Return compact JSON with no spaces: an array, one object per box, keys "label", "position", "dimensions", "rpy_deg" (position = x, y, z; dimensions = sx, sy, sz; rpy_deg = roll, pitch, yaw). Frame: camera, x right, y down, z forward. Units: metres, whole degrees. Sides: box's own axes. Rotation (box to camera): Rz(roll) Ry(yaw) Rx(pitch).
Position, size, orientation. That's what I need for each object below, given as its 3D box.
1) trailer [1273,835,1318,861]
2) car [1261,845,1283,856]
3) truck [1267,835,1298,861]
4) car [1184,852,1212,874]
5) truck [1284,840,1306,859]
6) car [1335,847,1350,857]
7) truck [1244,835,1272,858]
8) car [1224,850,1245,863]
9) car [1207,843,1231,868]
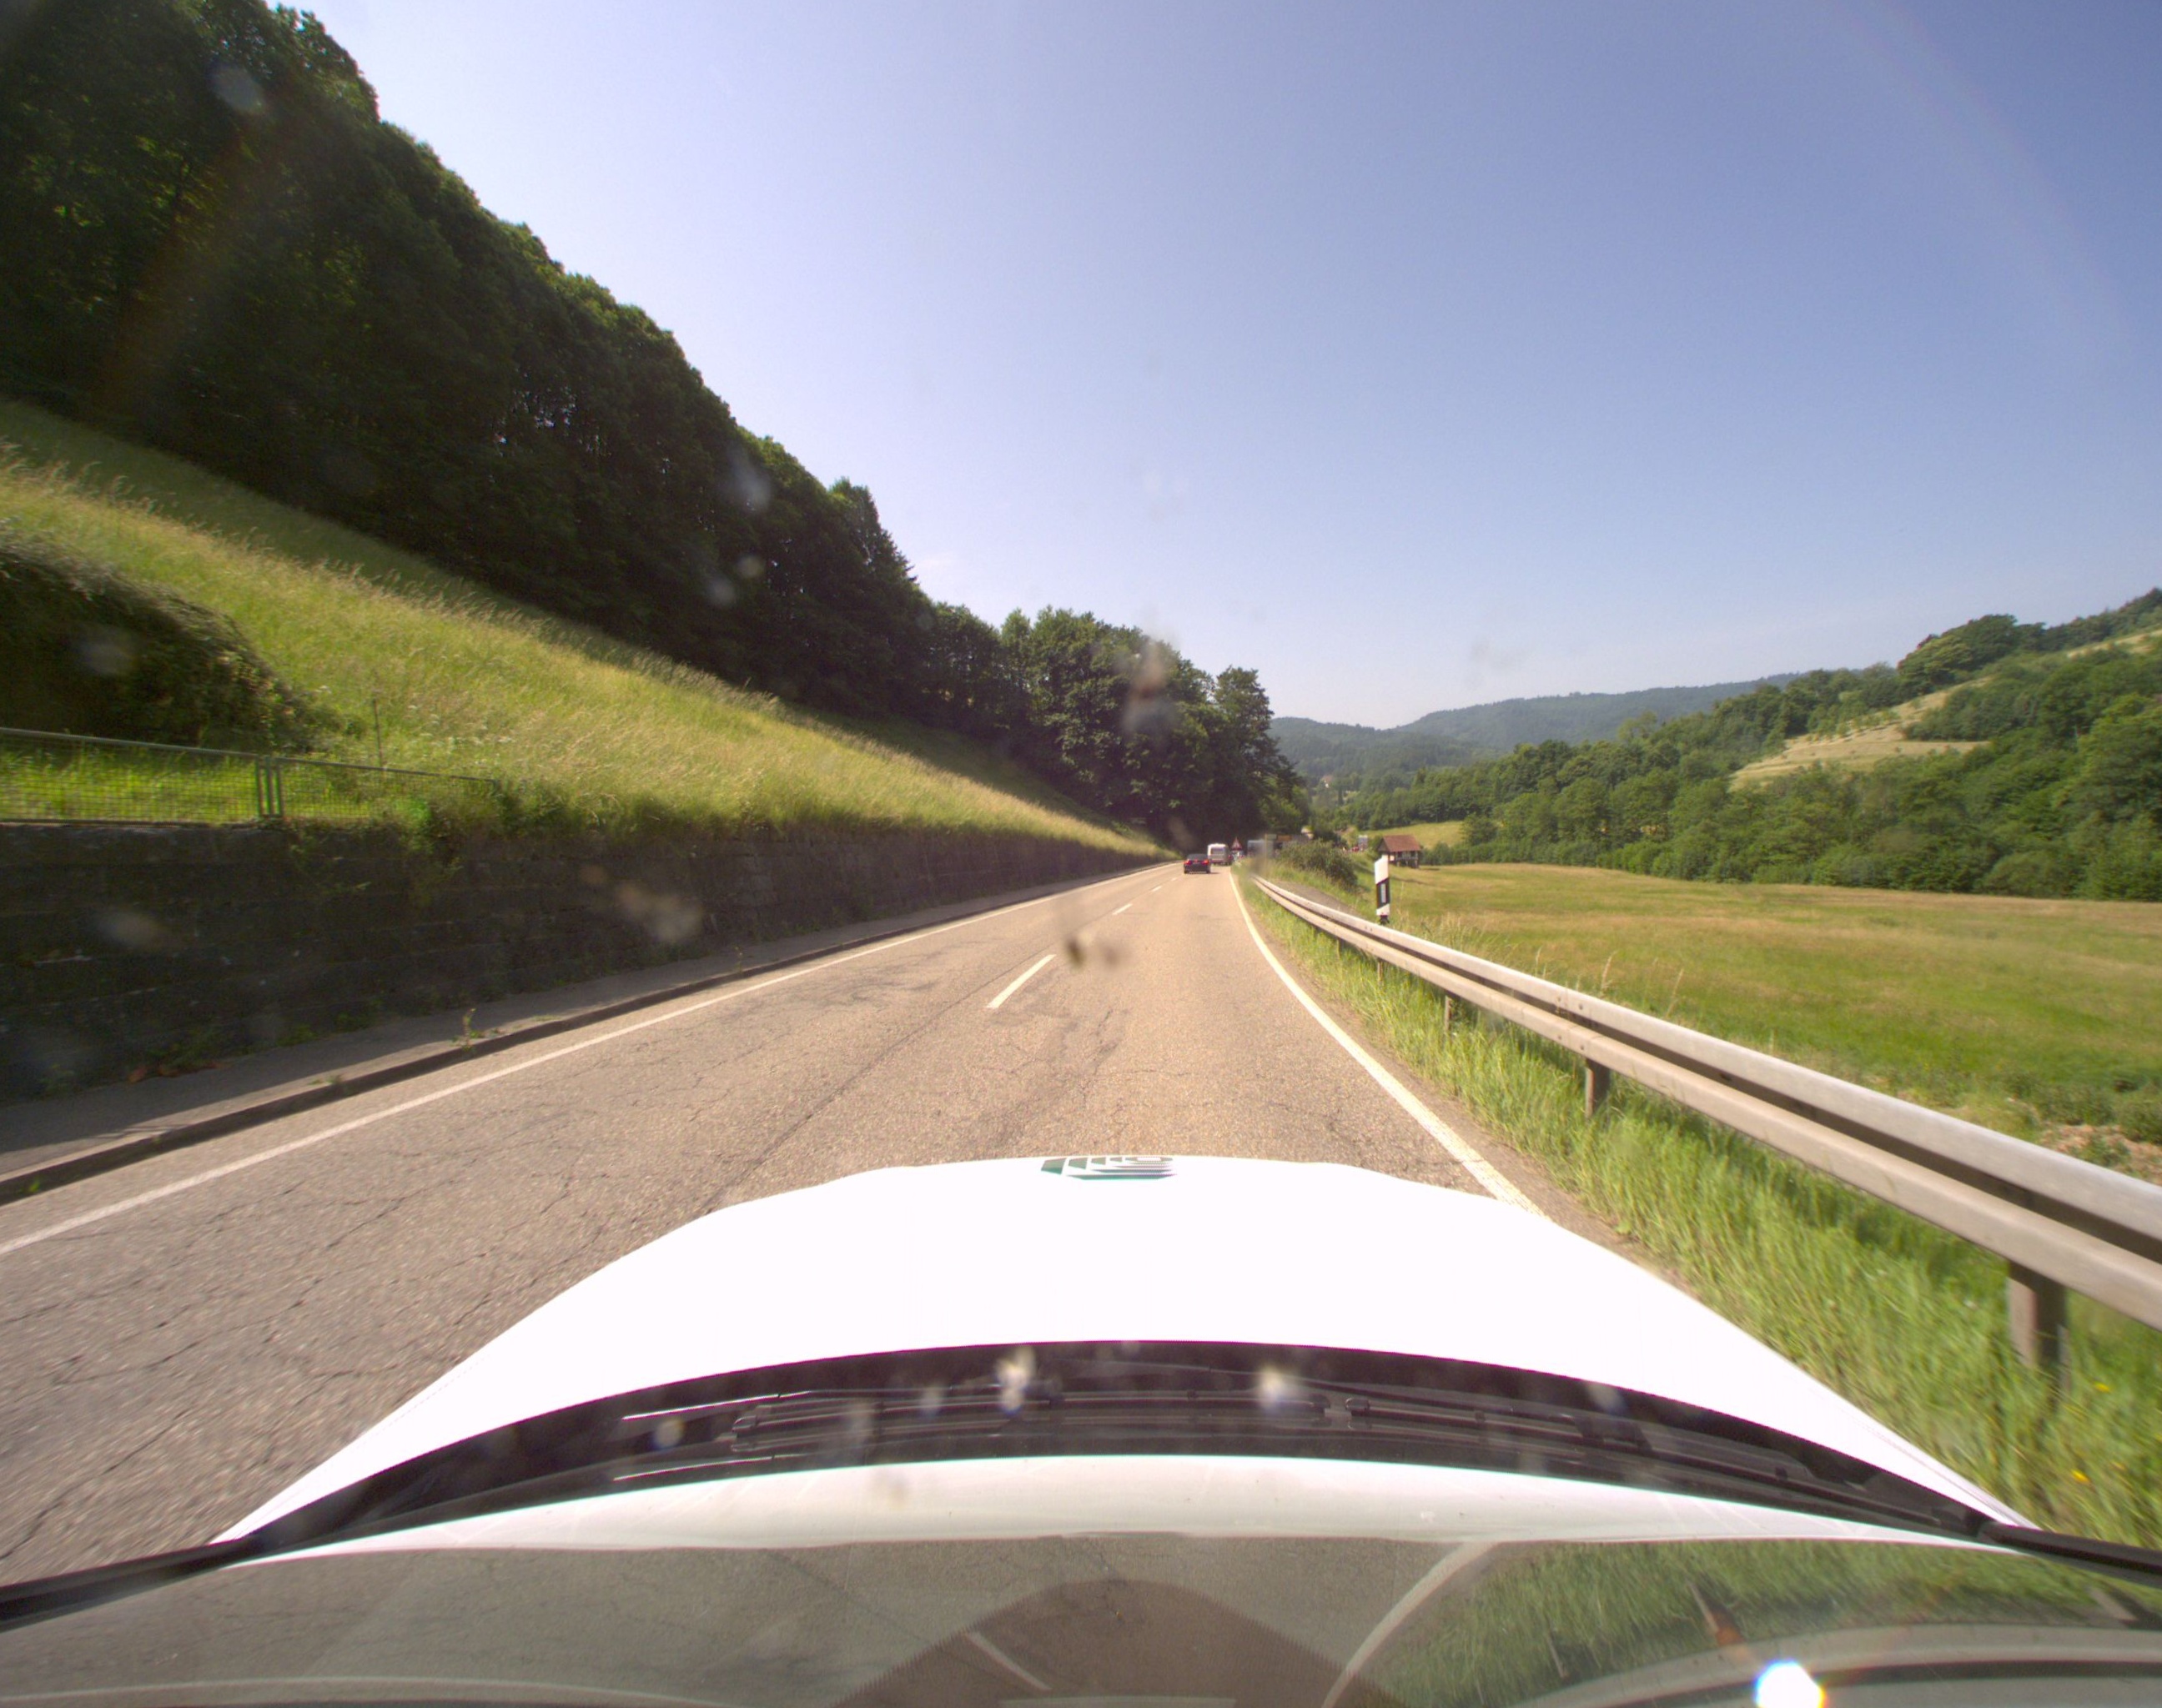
[{"label":"trailer","position":[38.940,-1.078,147.183],"dimensions":[3.228,4.417,15.413],"rpy_deg":[1,1,33]},{"label":"car","position":[27.660,-0.527,117.834],"dimensions":[1.975,1.463,4.024],"rpy_deg":[3,2,28]},{"label":"truck","position":[34.824,-1.088,140.857],"dimensions":[3.158,4.396,6.613],"rpy_deg":[2,2,33]},{"label":"car","position":[8.061,0.590,55.851],"dimensions":[1.760,1.335,3.778],"rpy_deg":[1,2,10]},{"label":"truck","position":[34.292,-0.684,130.434],"dimensions":[2.217,2.804,6.268],"rpy_deg":[1,0,26]},{"label":"car","position":[50.985,-0.343,158.773],"dimensions":[1.975,1.925,4.025],"rpy_deg":[2,1,31]},{"label":"truck","position":[23.961,-1.057,110.164],"dimensions":[2.768,2.997,6.901],"rpy_deg":[3,2,18]},{"label":"car","position":[18.593,0.251,98.488],"dimensions":[1.978,1.484,4.018],"rpy_deg":[2,1,17]},{"label":"car","position":[14.410,0.121,84.844],"dimensions":[1.978,2.352,4.935],"rpy_deg":[1,2,16]}]
